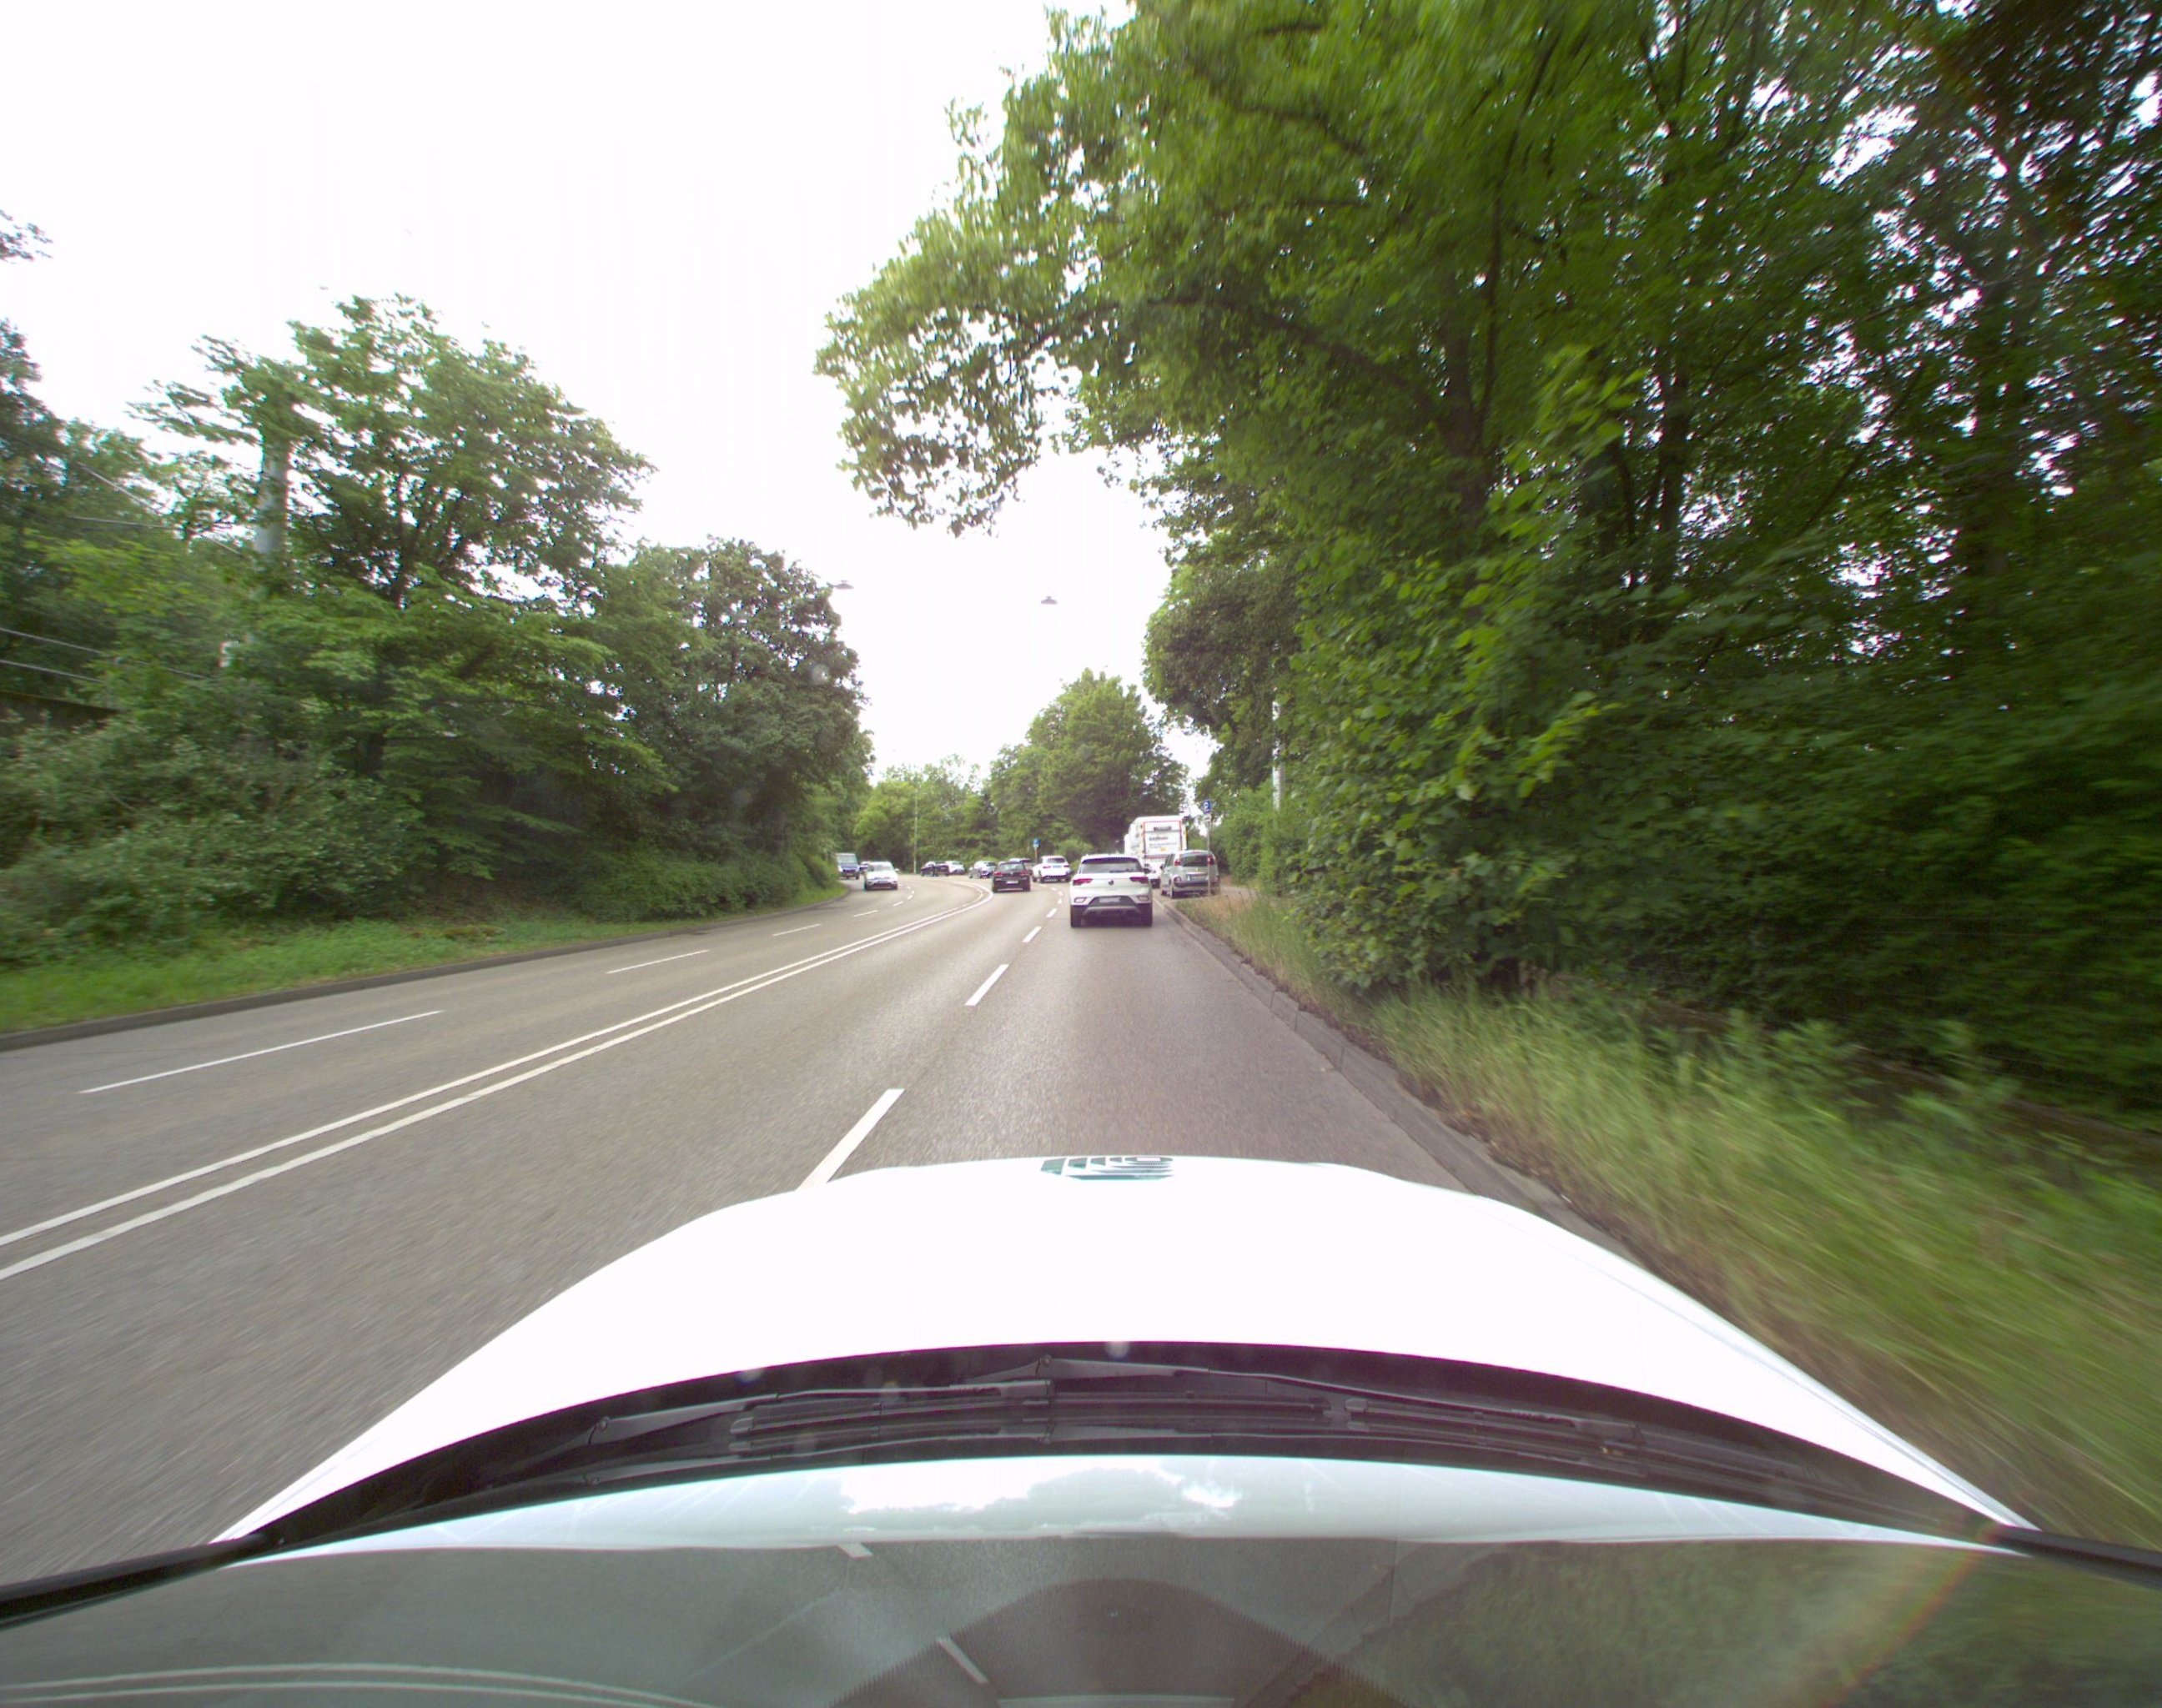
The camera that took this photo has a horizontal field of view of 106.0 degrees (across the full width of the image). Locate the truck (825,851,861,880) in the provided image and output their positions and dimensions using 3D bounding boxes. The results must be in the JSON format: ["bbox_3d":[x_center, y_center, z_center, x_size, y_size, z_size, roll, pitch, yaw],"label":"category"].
[{"bbox_3d":[-21.211,1.041,72.368,2.171,2.371,6.624,-1,0,-24],"label":"truck"}]

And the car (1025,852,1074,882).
[{"bbox_3d":[-1.999,0.788,50.416,1.858,1.702,3.973,-2,1,-20],"label":"car"}]

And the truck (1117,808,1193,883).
[{"bbox_3d":[3.377,-0.318,38.808,2.477,3.182,7.218,1,-1,-4],"label":"truck"}]

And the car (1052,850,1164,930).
[{"bbox_3d":[0.487,0.767,18.638,1.998,1.596,3.991,1,-1,-6],"label":"car"}]

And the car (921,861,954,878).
[{"bbox_3d":[-14.069,1.508,79.617,1.777,1.607,3.960,2,-1,-31],"label":"car"}]

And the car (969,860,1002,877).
[{"bbox_3d":[-7.891,1.180,67.081,1.433,1.389,3.967,2,-1,-25],"label":"car"}]

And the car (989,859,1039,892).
[{"bbox_3d":[-3.147,0.984,38.993,1.942,1.466,4.001,-1,-1,2],"label":"car"}]

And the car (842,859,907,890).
[{"bbox_3d":[-12.451,1.222,48.960,1.872,1.694,4.383,-4,2,-42],"label":"car"}]

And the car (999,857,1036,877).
[{"bbox_3d":[-5.615,1.118,71.766,1.767,1.652,4.343,-2,0,-26],"label":"car"}]

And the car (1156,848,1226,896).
[{"bbox_3d":[3.825,0.617,28.854,1.798,1.524,3.997,-2,-1,-1],"label":"car"}]
